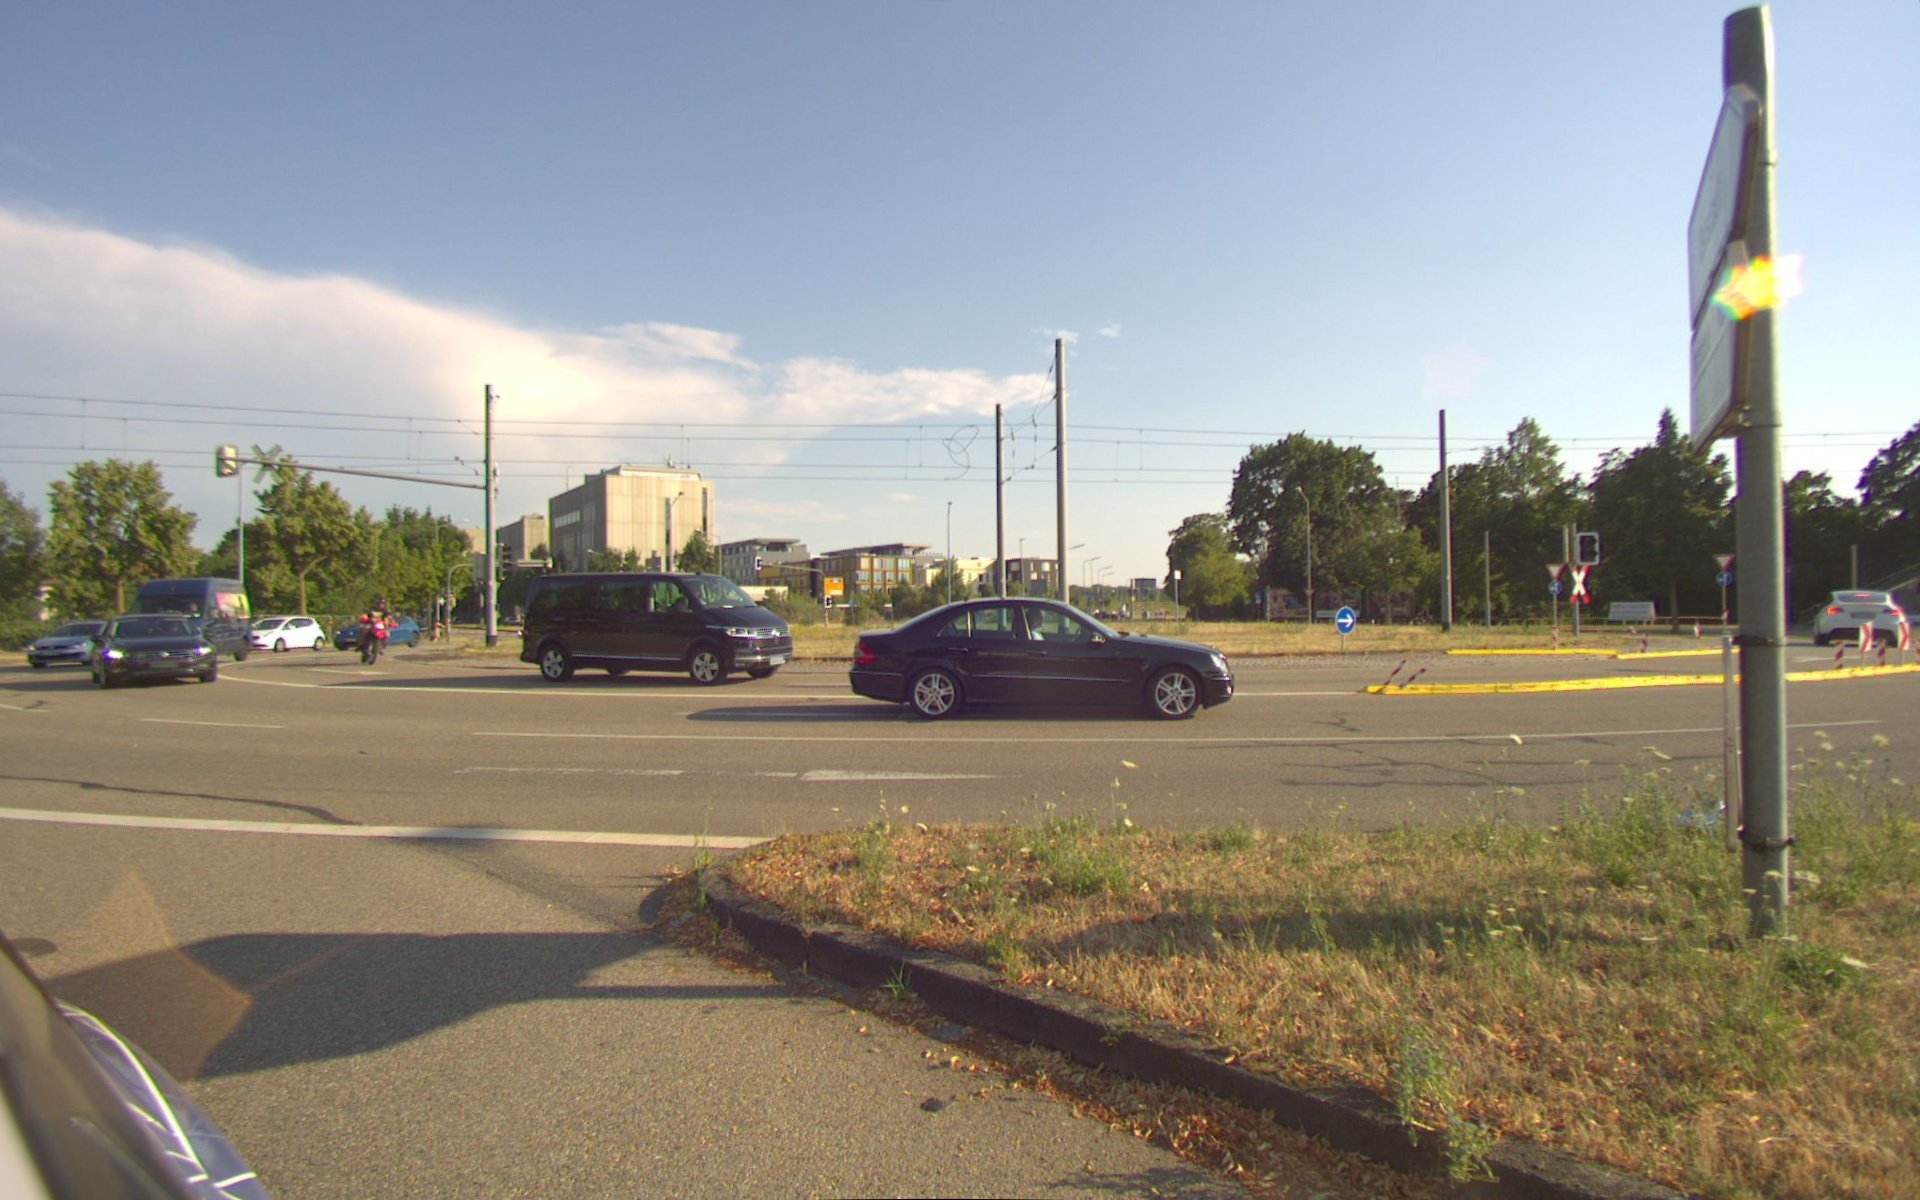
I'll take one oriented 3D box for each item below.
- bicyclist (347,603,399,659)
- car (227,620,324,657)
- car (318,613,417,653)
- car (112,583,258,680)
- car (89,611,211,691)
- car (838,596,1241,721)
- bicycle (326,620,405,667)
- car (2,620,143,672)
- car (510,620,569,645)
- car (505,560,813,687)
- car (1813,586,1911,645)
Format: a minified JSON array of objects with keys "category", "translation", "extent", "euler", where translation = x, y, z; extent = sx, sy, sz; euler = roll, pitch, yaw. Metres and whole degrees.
[{"category":"bicyclist","translation":[-15.512,0.807,26.753],"extent":[0.768,1.395,0.876],"euler":[-1,2,26]},{"category":"car","translation":[-30.851,1.697,45.757],"extent":[1.659,1.529,3.999],"euler":[-1,-1,0]},{"category":"car","translation":[-26.228,1.425,44.923],"extent":[1.847,1.674,3.994],"euler":[-1,-1,5]},{"category":"car","translation":[-23.184,0.943,30.538],"extent":[1.965,2.613,5.503],"euler":[-2,-1,-21]},{"category":"car","translation":[-16.935,0.994,21.070],"extent":[1.783,1.447,4.393],"euler":[-1,0,-41]},{"category":"car","translation":[0.949,0.680,12.613],"extent":[4.642,1.417,1.840],"euler":[0,-1,6]},{"category":"bicycle","translation":[-15.741,1.133,26.803],"extent":[2.020,1.193,0.813],"euler":[-1,-1,25]},{"category":"car","translation":[-28.839,1.439,33.070],"extent":[1.966,1.535,4.012],"euler":[0,-1,-16]},{"category":"car","translation":[-26.360,2.017,63.608],"extent":[2.063,1.394,4.593],"euler":[-1,0,-4]},{"category":"car","translation":[-5.461,0.429,18.315],"extent":[5.209,2.063,2.079],"euler":[-1,0,22]},{"category":"car","translation":[26.270,0.423,29.429],"extent":[2.000,1.586,3.943],"euler":[-1,-1,43]}]
